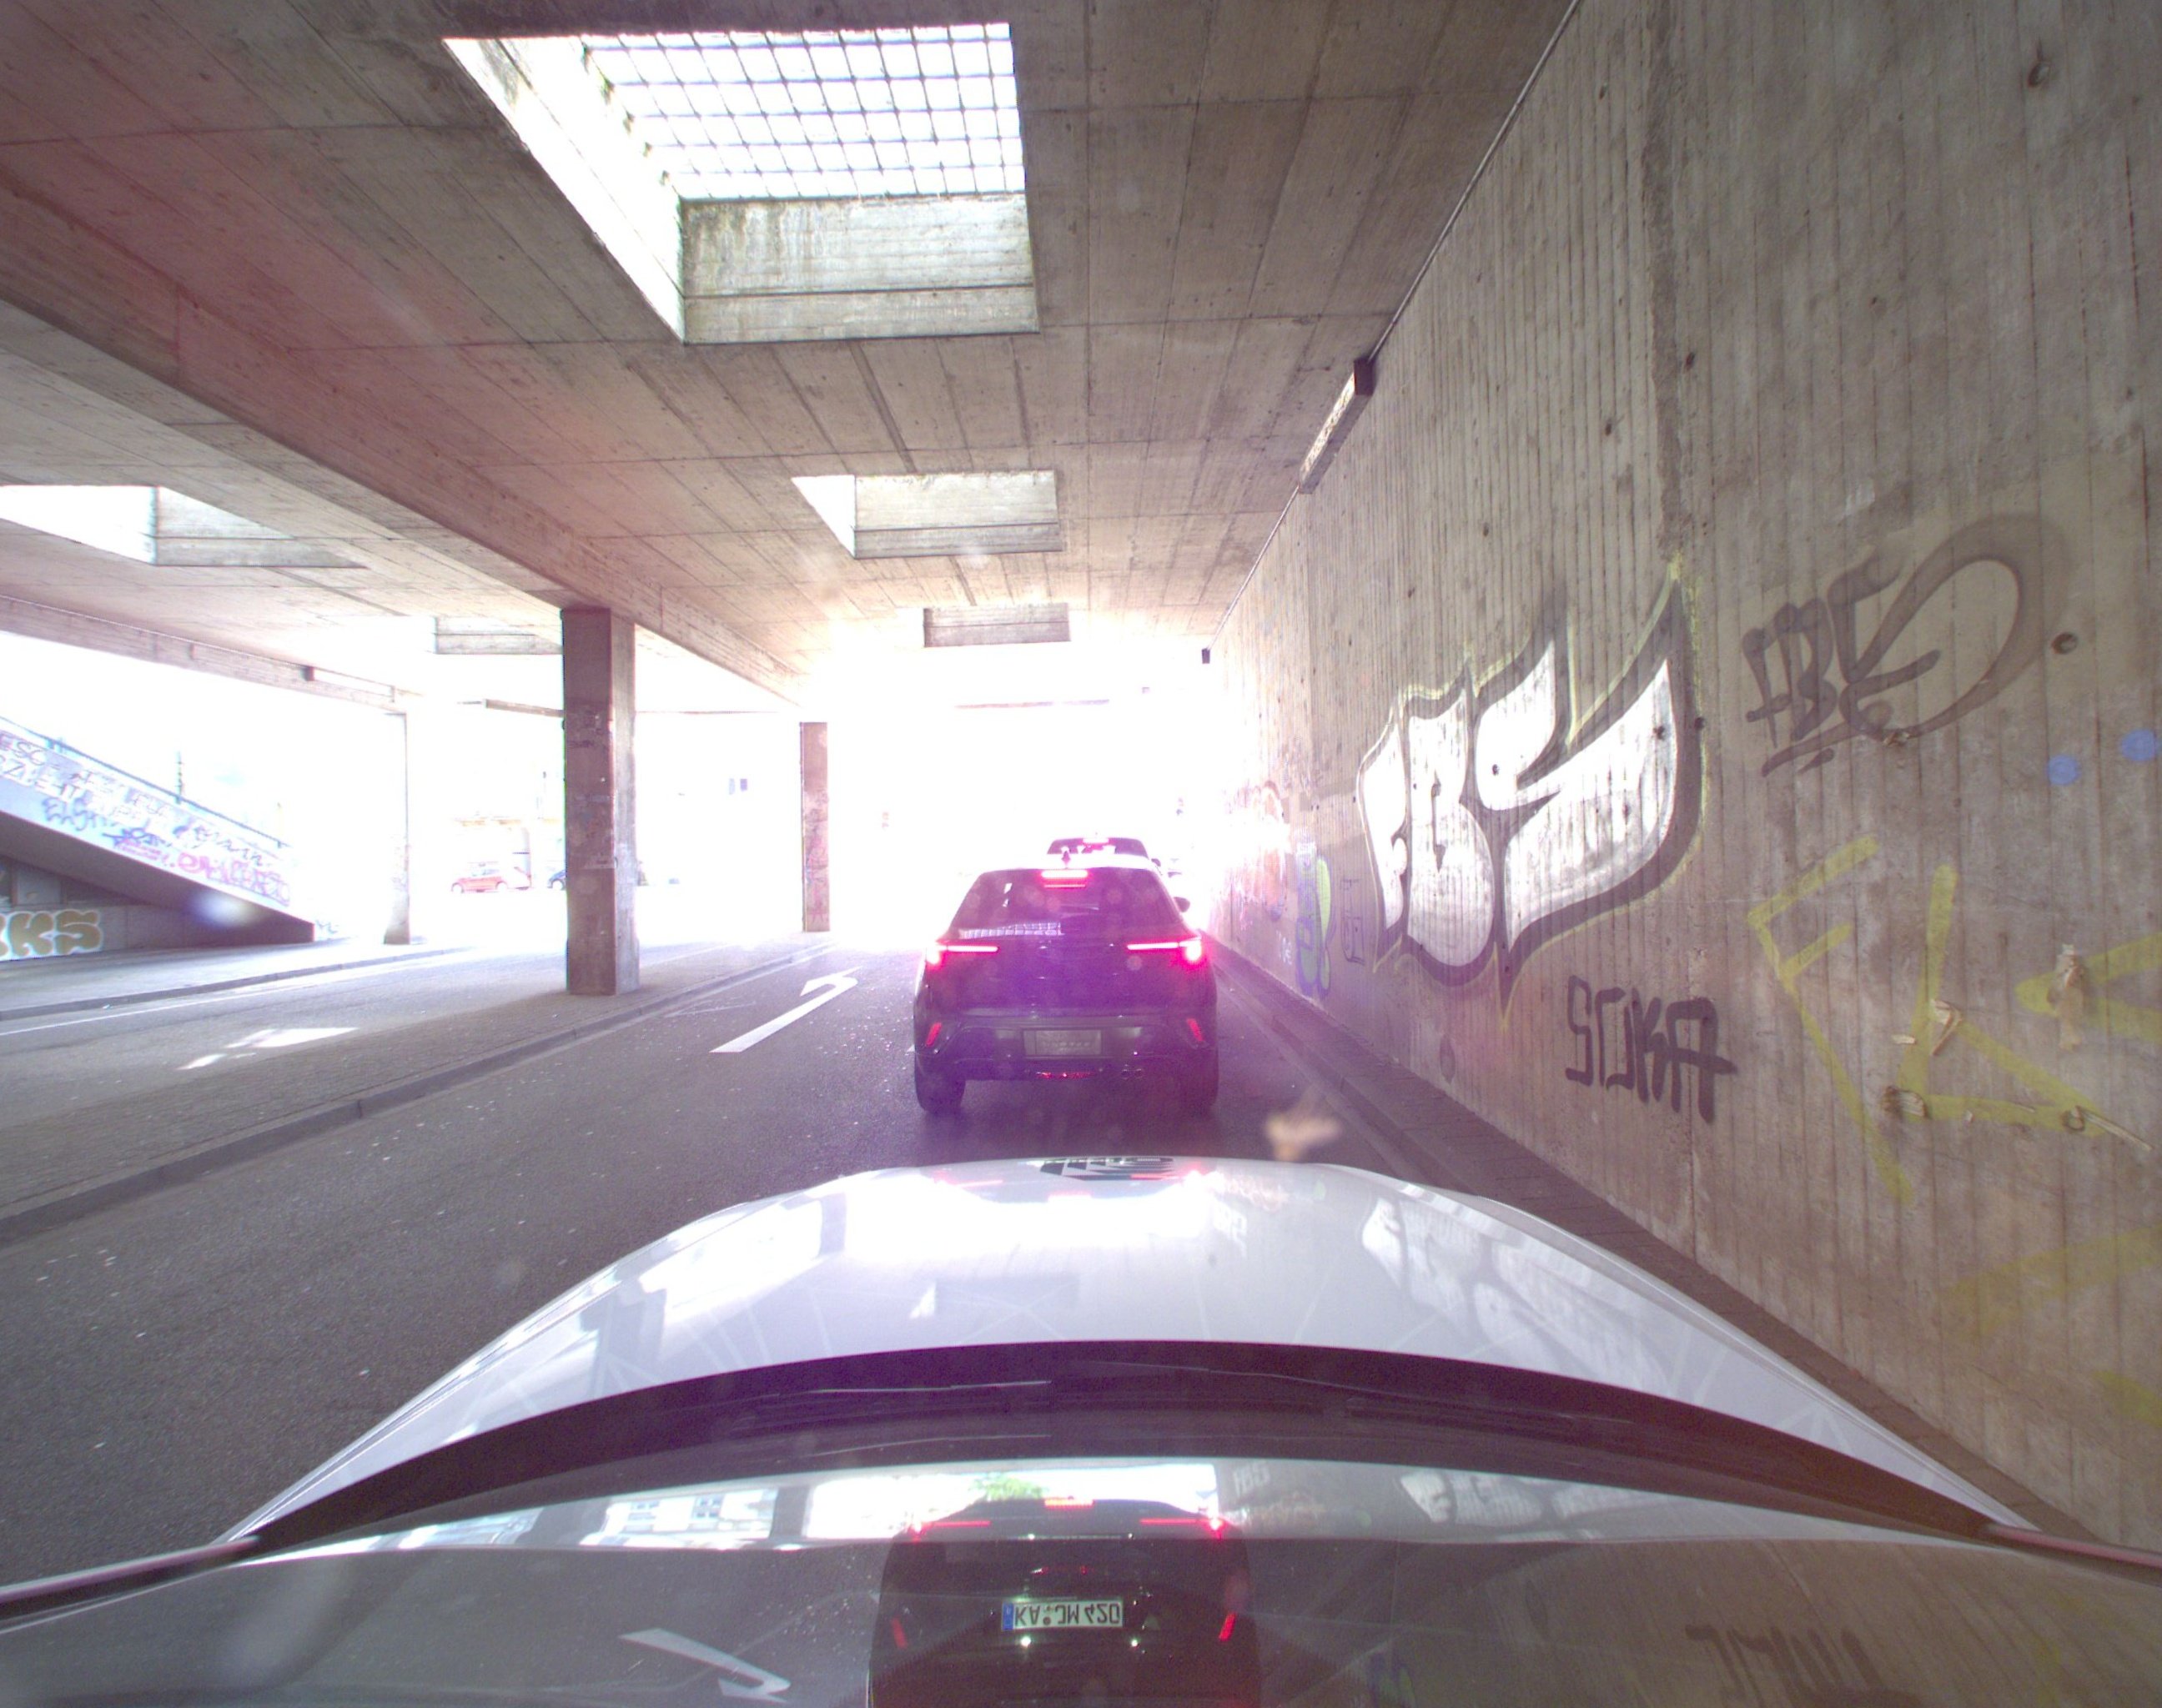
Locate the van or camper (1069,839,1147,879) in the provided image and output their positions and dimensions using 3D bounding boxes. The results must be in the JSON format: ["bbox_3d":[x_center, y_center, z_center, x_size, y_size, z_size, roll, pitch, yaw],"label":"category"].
[{"bbox_3d":[1.489,0.279,43.558,3.854,2.013,2.005,-2,0,9],"label":"van or camper"}]

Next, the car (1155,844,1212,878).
[{"bbox_3d":[5.627,0.321,44.199,1.976,1.641,4.617,-2,1,21],"label":"car"}]

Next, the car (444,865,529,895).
[{"bbox_3d":[-32.904,1.446,45.115,3.519,1.506,1.563,-2,0,2],"label":"car"}]

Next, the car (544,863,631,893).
[{"bbox_3d":[-27.388,1.293,45.260,3.742,1.508,1.752,-2,0,0],"label":"car"}]

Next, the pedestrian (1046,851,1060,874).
[{"bbox_3d":[-1.943,0.570,56.887,0.729,1.585,0.894,0,-1,18],"label":"pedestrian"}]

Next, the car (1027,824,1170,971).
[{"bbox_3d":[0.286,0.544,12.185,1.779,1.833,3.962,-1,0,2],"label":"car"}]

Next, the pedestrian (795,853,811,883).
[{"bbox_3d":[-16.069,0.820,47.107,0.718,1.705,0.624,0,-1,-1],"label":"pedestrian"}]

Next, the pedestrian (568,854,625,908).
[{"bbox_3d":[-16.027,0.889,26.971,1.103,1.737,1.146,-2,0,15],"label":"pedestrian"}]

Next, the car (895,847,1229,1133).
[{"bbox_3d":[-0.028,0.715,6.281,1.746,1.498,4.002,0,0,2],"label":"car"}]

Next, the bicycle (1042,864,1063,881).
[{"bbox_3d":[-1.967,1.263,56.939,0.730,1.130,2.036,-2,0,19],"label":"bicycle"}]
